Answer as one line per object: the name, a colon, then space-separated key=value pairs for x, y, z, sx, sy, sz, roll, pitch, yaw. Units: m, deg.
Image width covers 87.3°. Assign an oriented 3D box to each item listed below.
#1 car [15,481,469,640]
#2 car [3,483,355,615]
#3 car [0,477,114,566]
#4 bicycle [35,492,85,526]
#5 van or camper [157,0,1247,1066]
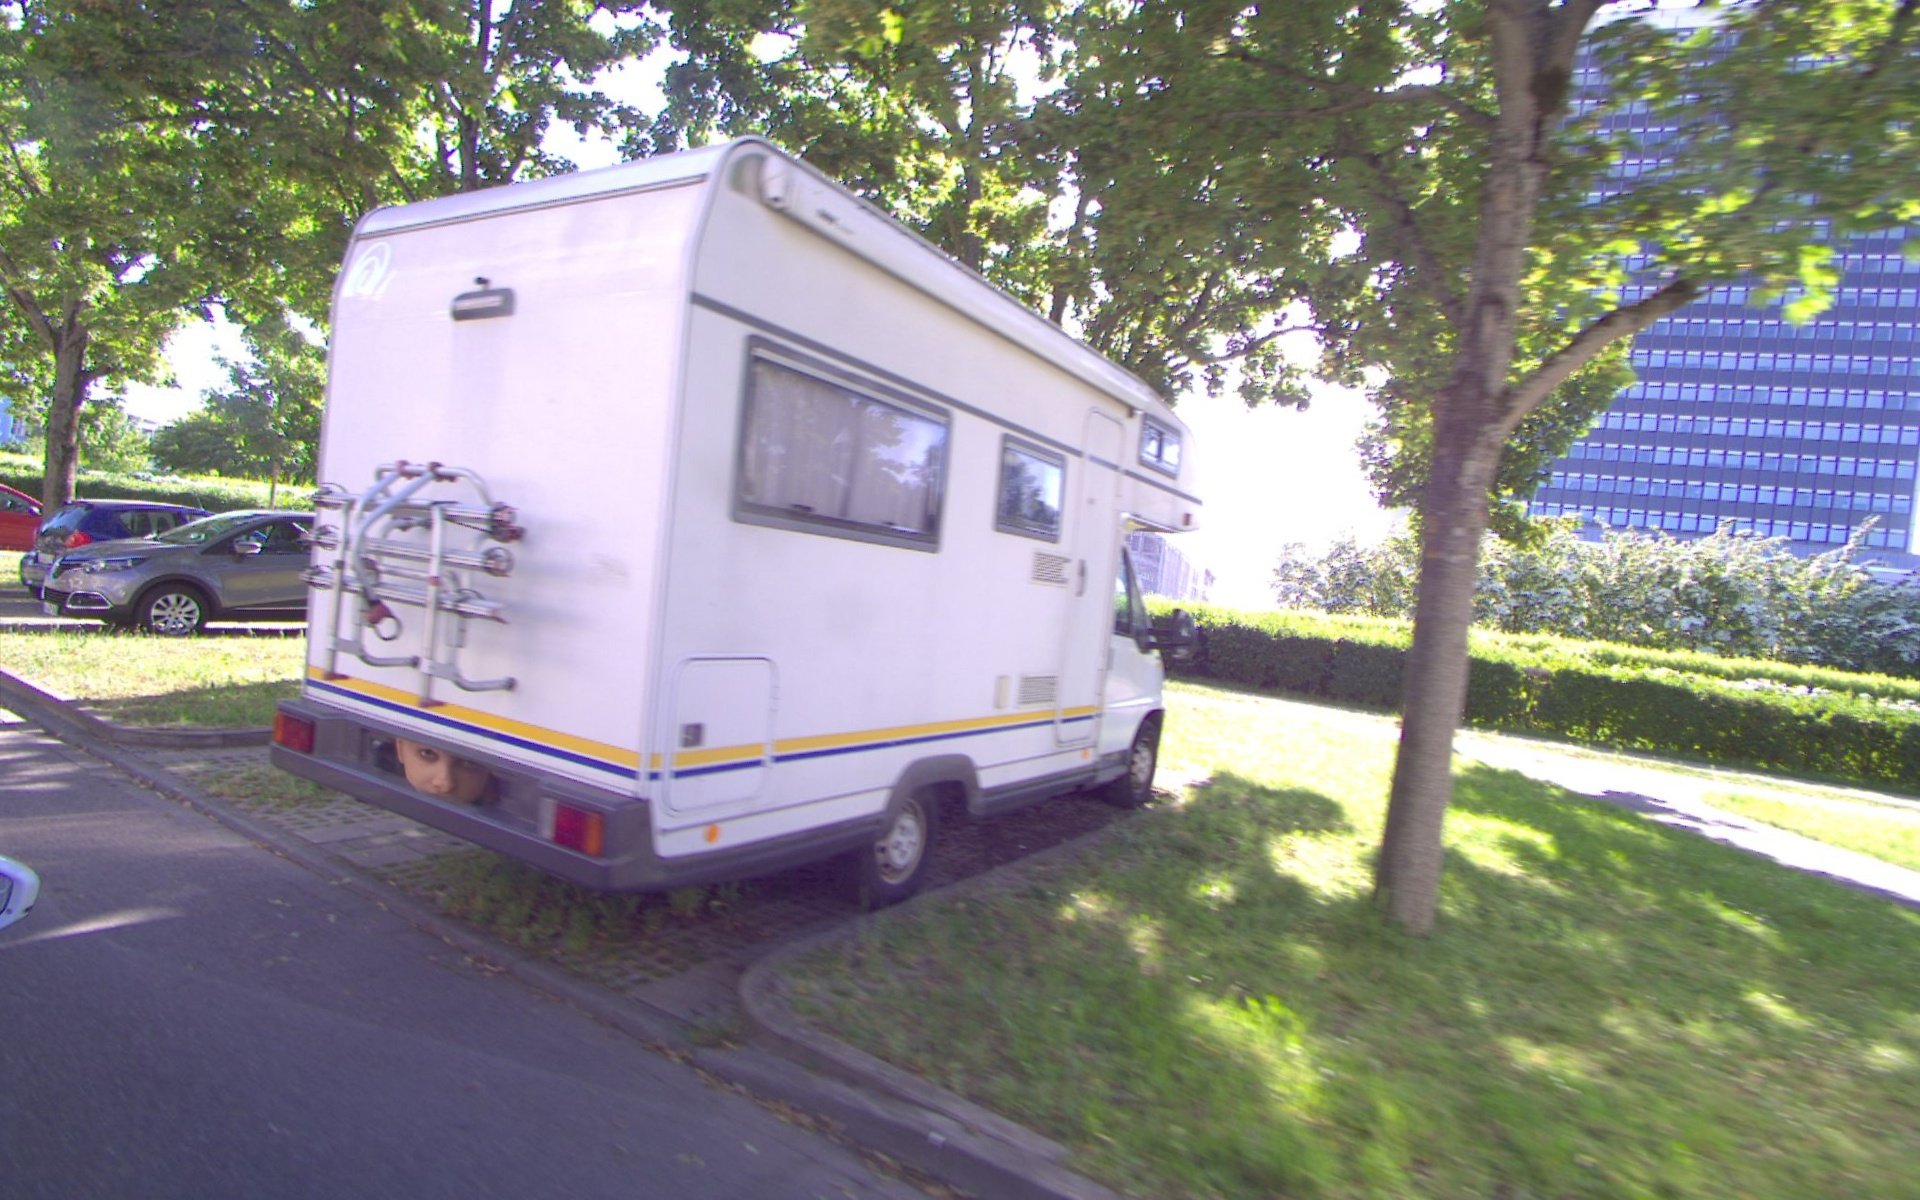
car: x=-8.669 y=-0.400 z=12.519 sx=1.829 sy=1.567 sz=4.191 roll=7 pitch=3 yaw=34
car: x=-10.843 y=-0.650 z=14.192 sx=1.827 sy=1.499 sz=3.463 roll=7 pitch=2 yaw=30
car: x=-18.624 y=-1.593 z=19.205 sx=1.601 sy=1.565 sz=3.433 roll=7 pitch=3 yaw=33
bicycle: x=-28.413 y=-2.875 z=31.767 sx=1.382 sy=0.878 sz=0.347 roll=7 pitch=2 yaw=9
van or camper: x=-0.596 y=-0.216 z=6.033 sx=2.627 sy=3.024 sz=5.982 roll=7 pitch=2 yaw=32
